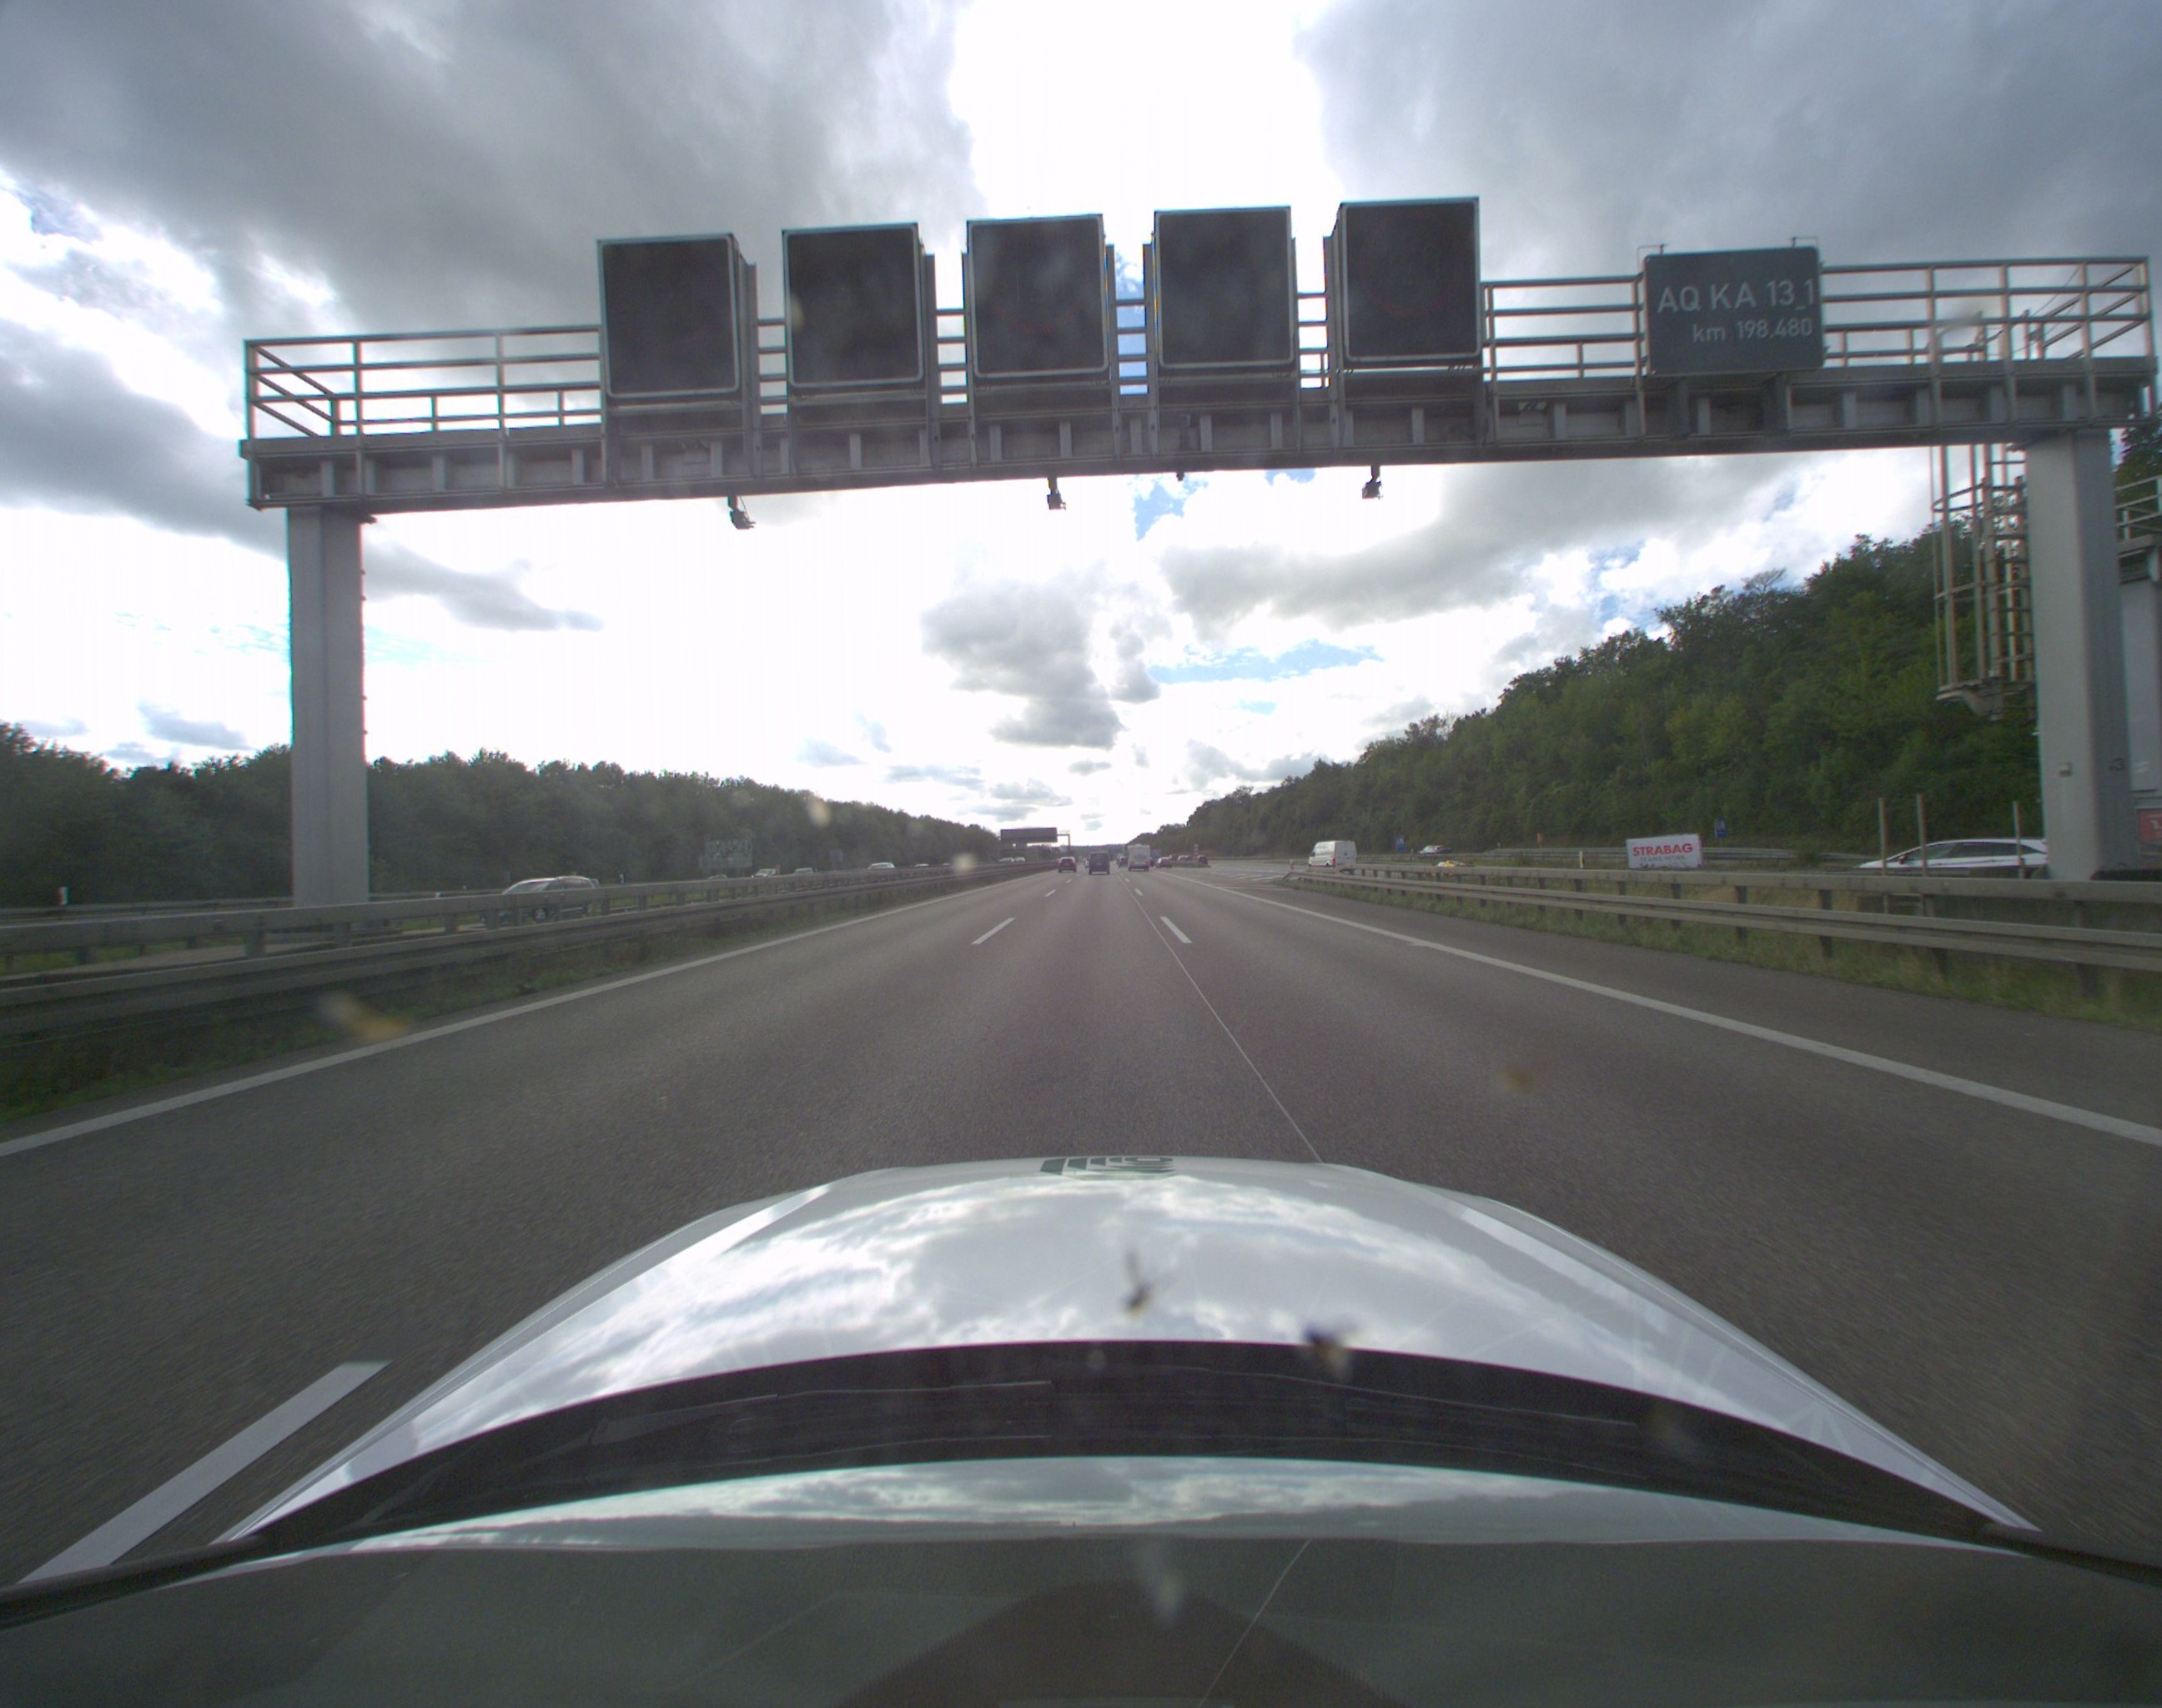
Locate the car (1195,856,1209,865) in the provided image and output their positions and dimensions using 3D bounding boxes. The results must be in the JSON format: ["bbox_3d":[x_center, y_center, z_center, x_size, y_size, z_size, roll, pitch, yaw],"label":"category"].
[{"bbox_3d":[21.274,1.111,143.102,1.836,1.484,4.527,-3,0,1],"label":"car"}]

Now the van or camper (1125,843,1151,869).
[{"bbox_3d":[6.304,0.245,91.163,2.460,2.722,7.662,0,0,1],"label":"van or camper"}]

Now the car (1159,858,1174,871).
[{"bbox_3d":[11.722,1.424,111.846,1.691,1.611,3.896,-1,-1,0],"label":"car"}]

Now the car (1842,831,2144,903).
[{"bbox_3d":[21.637,0.297,19.654,1.686,1.485,4.592,-1,0,-15],"label":"car"}]

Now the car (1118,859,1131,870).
[{"bbox_3d":[6.647,1.564,124.501,1.691,1.564,4.114,-1,-1,1],"label":"car"}]

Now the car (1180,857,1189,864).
[{"bbox_3d":[22.311,1.364,175.610,1.535,1.484,3.943,-3,0,1],"label":"car"}]

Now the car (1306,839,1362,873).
[{"bbox_3d":[20.159,0.164,65.246,2.065,2.554,6.736,-2,0,-2],"label":"car"}]

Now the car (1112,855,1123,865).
[{"bbox_3d":[6.488,1.046,144.227,1.807,1.601,4.002,-2,0,2],"label":"car"}]

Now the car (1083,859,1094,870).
[{"bbox_3d":[1.149,1.612,125.360,1.691,1.611,4.114,-1,-1,1],"label":"car"}]

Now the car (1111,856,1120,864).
[{"bbox_3d":[8.536,1.523,201.869,1.906,1.919,4.031,-1,0,1],"label":"car"}]

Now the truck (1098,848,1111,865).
[{"bbox_3d":[6.170,0.755,212.751,3.250,4.375,11.032,0,-1,2],"label":"truck"}]

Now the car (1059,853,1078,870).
[{"bbox_3d":[-1.337,0.790,86.525,1.866,1.698,4.072,-1,-1,1],"label":"car"}]

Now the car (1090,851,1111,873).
[{"bbox_3d":[1.735,0.703,73.000,1.848,1.910,4.260,-1,0,1],"label":"car"}]

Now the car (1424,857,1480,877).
[{"bbox_3d":[23.511,0.808,51.726,1.706,1.182,4.169,-1,0,1],"label":"car"}]

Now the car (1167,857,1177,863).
[{"bbox_3d":[23.596,1.654,211.369,1.837,1.484,4.525,-3,0,0],"label":"car"}]

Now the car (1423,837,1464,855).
[{"bbox_3d":[35.104,-0.773,79.045,1.837,1.602,4.764,-3,0,0],"label":"car"}]

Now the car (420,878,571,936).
[{"bbox_3d":[-19.099,1.663,26.846,1.720,1.576,4.297,-3,0,2],"label":"car"}]
